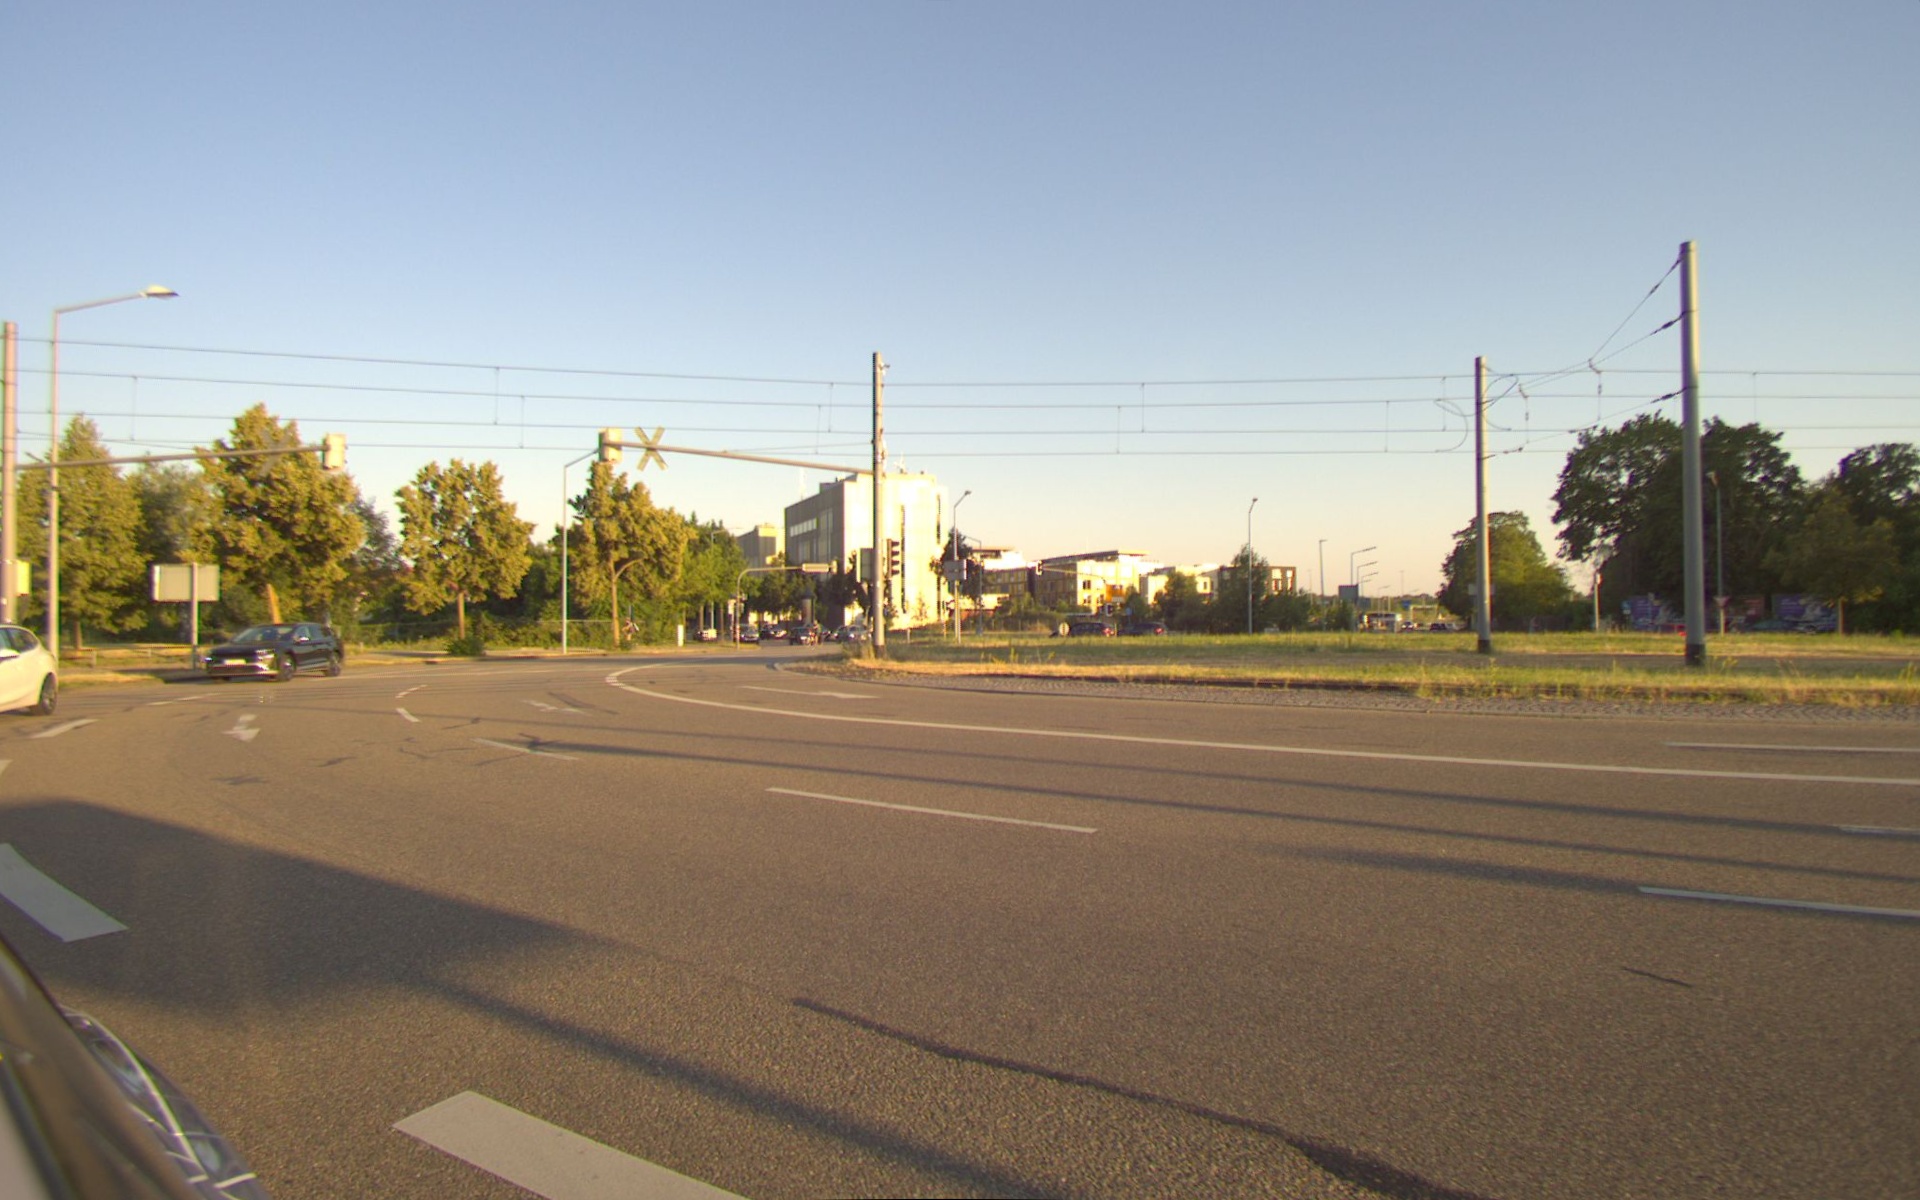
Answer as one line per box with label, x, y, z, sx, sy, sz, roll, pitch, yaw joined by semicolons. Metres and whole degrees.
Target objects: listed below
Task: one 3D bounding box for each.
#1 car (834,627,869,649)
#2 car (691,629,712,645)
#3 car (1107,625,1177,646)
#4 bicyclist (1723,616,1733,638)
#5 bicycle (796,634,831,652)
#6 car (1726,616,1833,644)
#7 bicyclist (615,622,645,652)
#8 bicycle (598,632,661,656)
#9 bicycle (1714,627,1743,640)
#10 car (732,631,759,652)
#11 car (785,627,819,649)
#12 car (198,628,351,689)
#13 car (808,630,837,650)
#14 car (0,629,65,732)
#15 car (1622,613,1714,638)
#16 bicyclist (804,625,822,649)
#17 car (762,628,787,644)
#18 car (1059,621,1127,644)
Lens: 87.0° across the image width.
car;-8.464;2.954;78.800;1.841;1.637;4.206;0;-1;-19
car;-27.948;3.964;109.435;1.841;1.637;4.206;0;-1;-20
car;12.615;2.483;70.220;4.398;1.443;1.919;-2;-3;39
bicyclist;49.016;1.700;64.563;0.447;1.408;0.468;-2;-2;37
bicycle;-10.307;3.001;71.222;2.291;1.188;0.812;0;-2;-37
car;43.708;1.606;54.125;1.915;1.443;4.325;0;-2;-5
bicyclist;-19.883;2.210;61.040;1.395;1.762;1.125;1;-2;-43
bicycle;-19.922;2.633;61.026;3.485;1.406;1.125;0;-2;-43
bicycle;49.018;2.121;64.567;1.416;0.797;0.468;-2;-2;37
car;-18.497;3.544;87.188;1.841;1.763;3.864;0;-1;-19
car;-12.670;3.040;81.014;1.841;1.637;4.206;0;-1;-20
car;-19.218;1.604;28.617;1.800;1.570;4.220;-1;-2;-6
car;-12.352;3.567;90.789;1.841;1.637;4.206;0;-1;-19
car;-15.591;1.245;15.420;1.730;1.570;4.228;0;-2;-24
car;43.022;1.595;61.639;1.914;1.443;4.602;0;-2;-8
bicyclist;-10.329;2.587;71.205;0.984;1.645;0.812;0;-2;-37
car;-19.066;3.680;104.062;1.841;1.637;4.206;0;-1;-20
car;8.879;2.165;67.690;4.250;1.512;1.818;-2;-2;39
